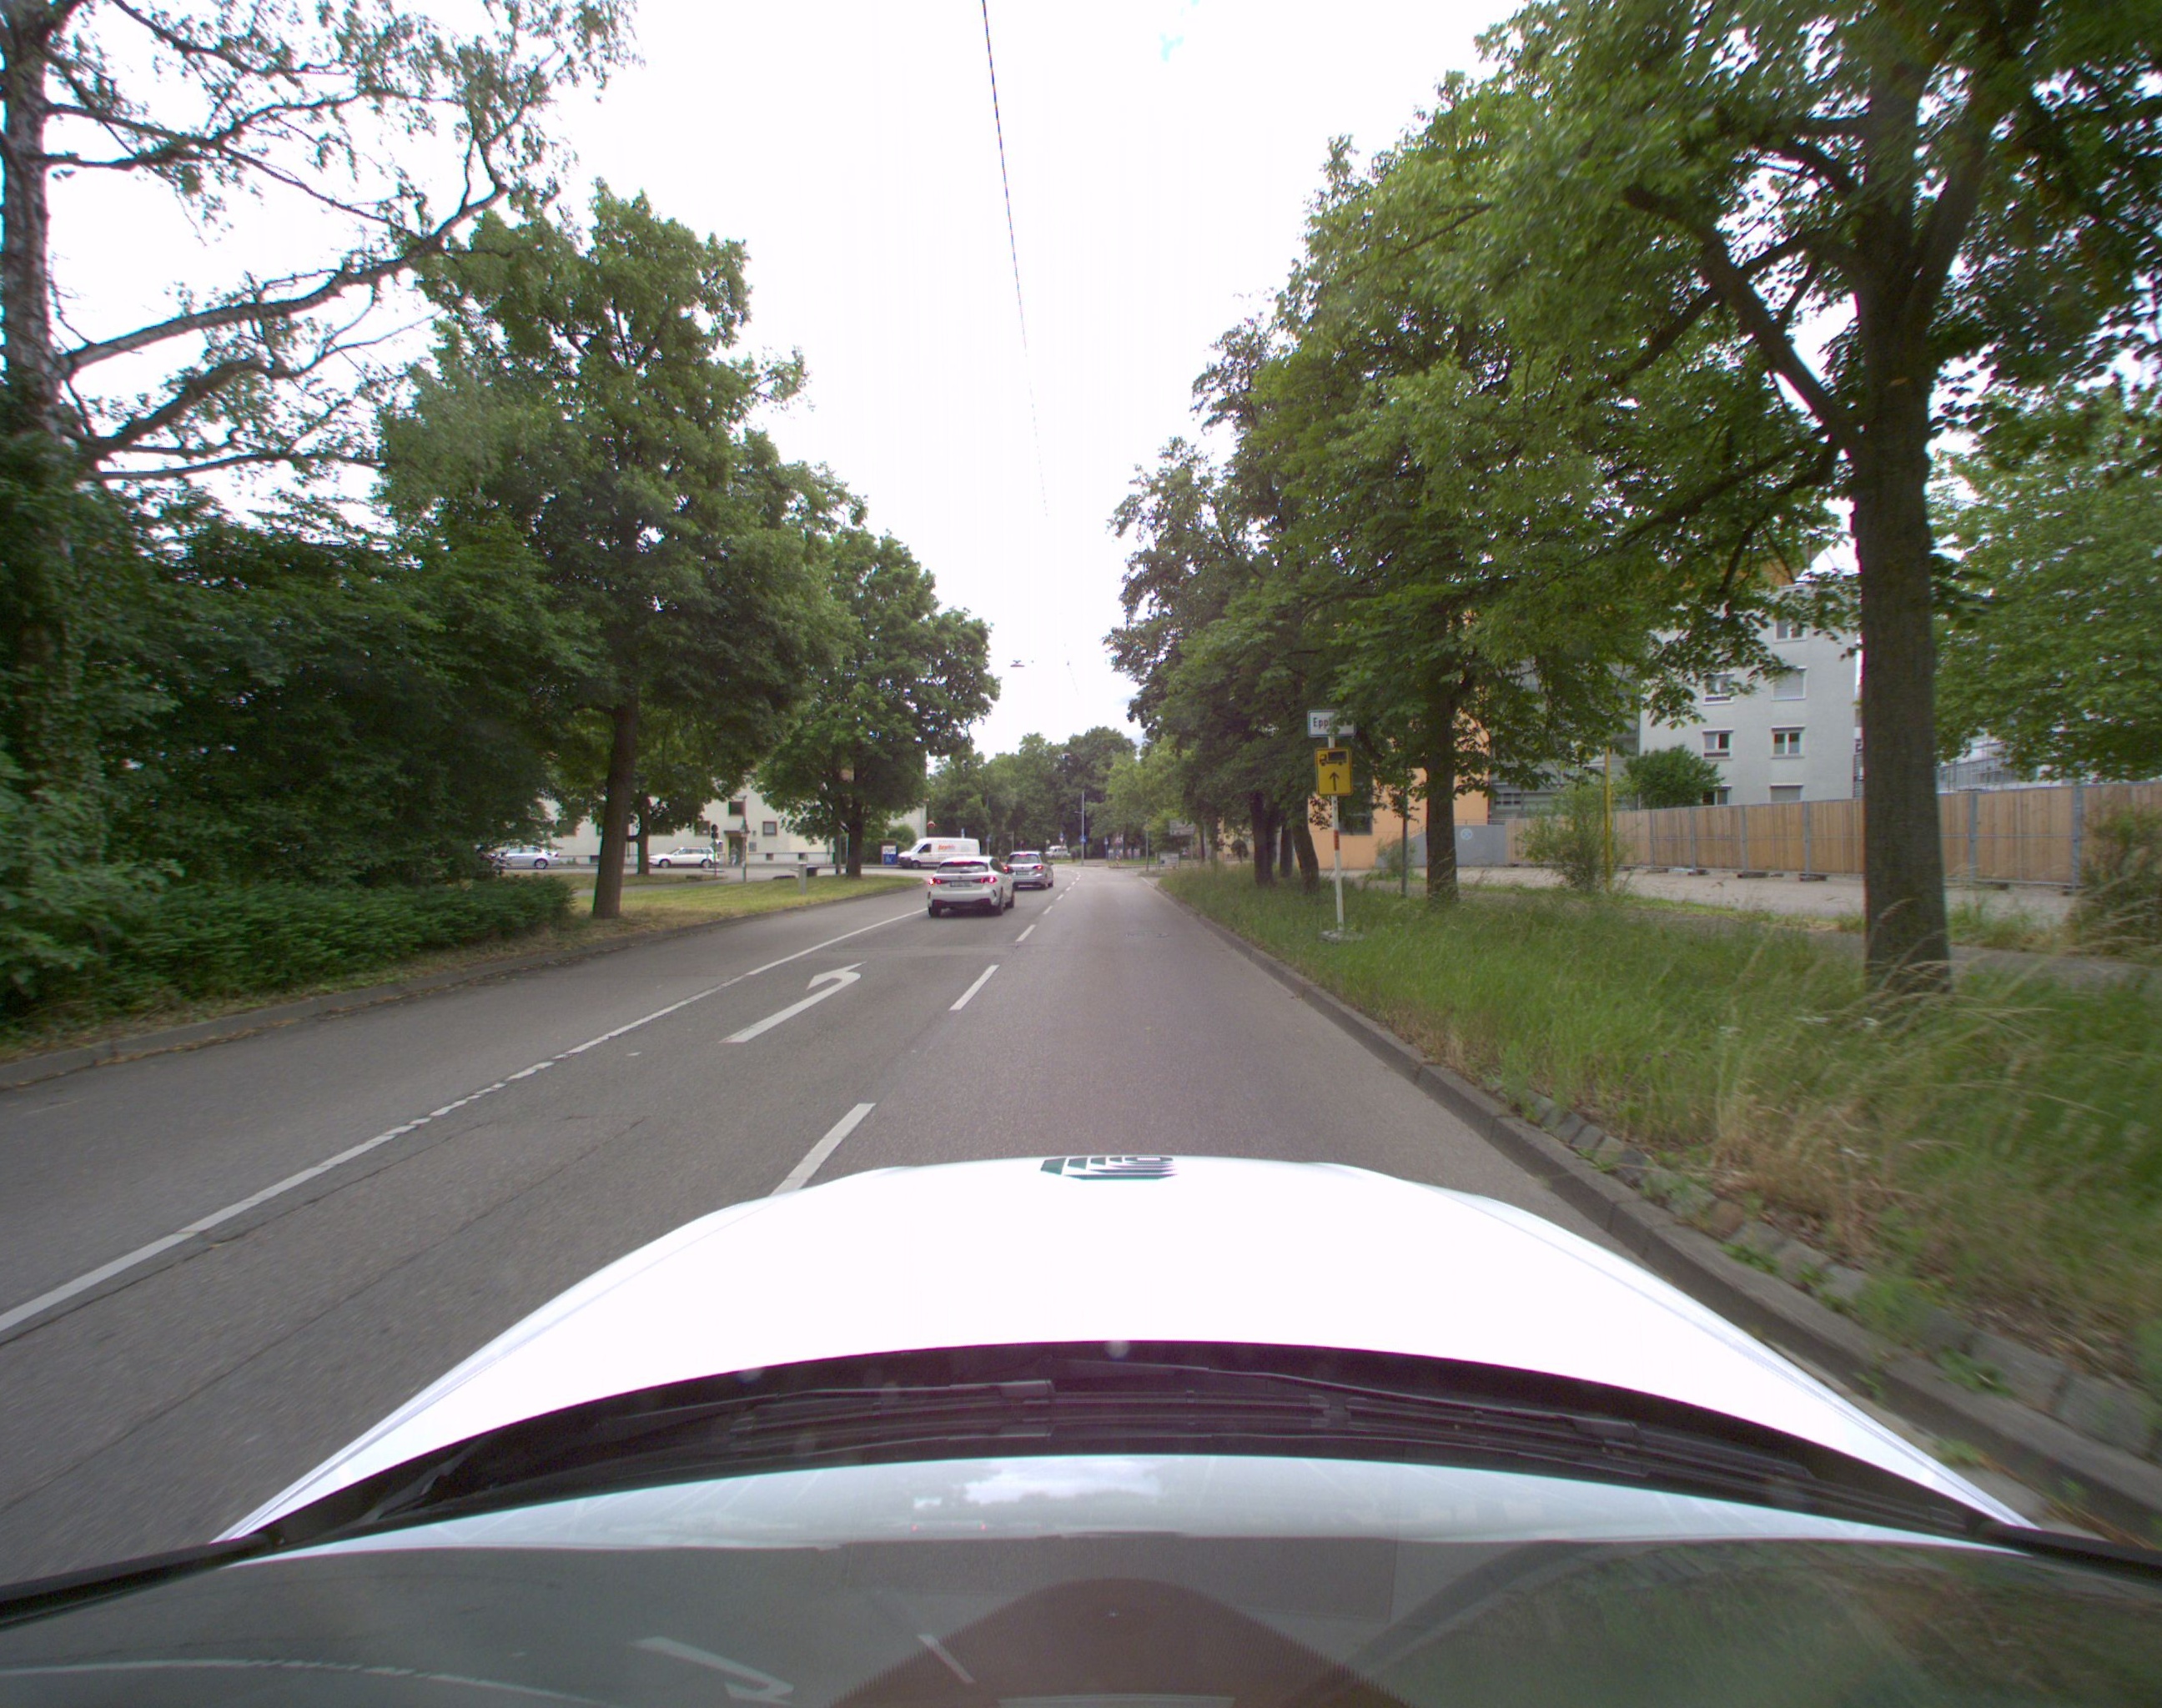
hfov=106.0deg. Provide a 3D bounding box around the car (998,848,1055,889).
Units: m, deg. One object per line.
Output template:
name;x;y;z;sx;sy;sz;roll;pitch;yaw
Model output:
car;-2.222;0.558;34.092;1.915;1.574;4.003;0;1;3

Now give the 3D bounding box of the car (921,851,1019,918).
car;-2.767;0.717;21.258;1.789;1.517;4.209;-2;0;2

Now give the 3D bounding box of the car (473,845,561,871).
car;-33.957;0.264;49.082;4.252;1.534;1.665;1;-2;-36

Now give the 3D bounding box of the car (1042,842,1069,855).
car;-4.840;-1.043;157.111;2.111;2.297;5.419;4;1;40

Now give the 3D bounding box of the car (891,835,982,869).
car;-11.563;-0.126;65.641;7.011;2.521;2.062;1;2;-36

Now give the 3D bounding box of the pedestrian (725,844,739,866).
pedestrian;-25.246;0.067;58.865;0.753;1.534;0.708;2;1;-38

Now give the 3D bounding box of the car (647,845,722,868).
car;-27.126;0.173;55.776;4.337;1.440;1.702;2;1;-38

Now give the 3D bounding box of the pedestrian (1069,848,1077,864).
pedestrian;-0.966;0.278;99.767;0.921;1.871;1.018;-4;3;-2
